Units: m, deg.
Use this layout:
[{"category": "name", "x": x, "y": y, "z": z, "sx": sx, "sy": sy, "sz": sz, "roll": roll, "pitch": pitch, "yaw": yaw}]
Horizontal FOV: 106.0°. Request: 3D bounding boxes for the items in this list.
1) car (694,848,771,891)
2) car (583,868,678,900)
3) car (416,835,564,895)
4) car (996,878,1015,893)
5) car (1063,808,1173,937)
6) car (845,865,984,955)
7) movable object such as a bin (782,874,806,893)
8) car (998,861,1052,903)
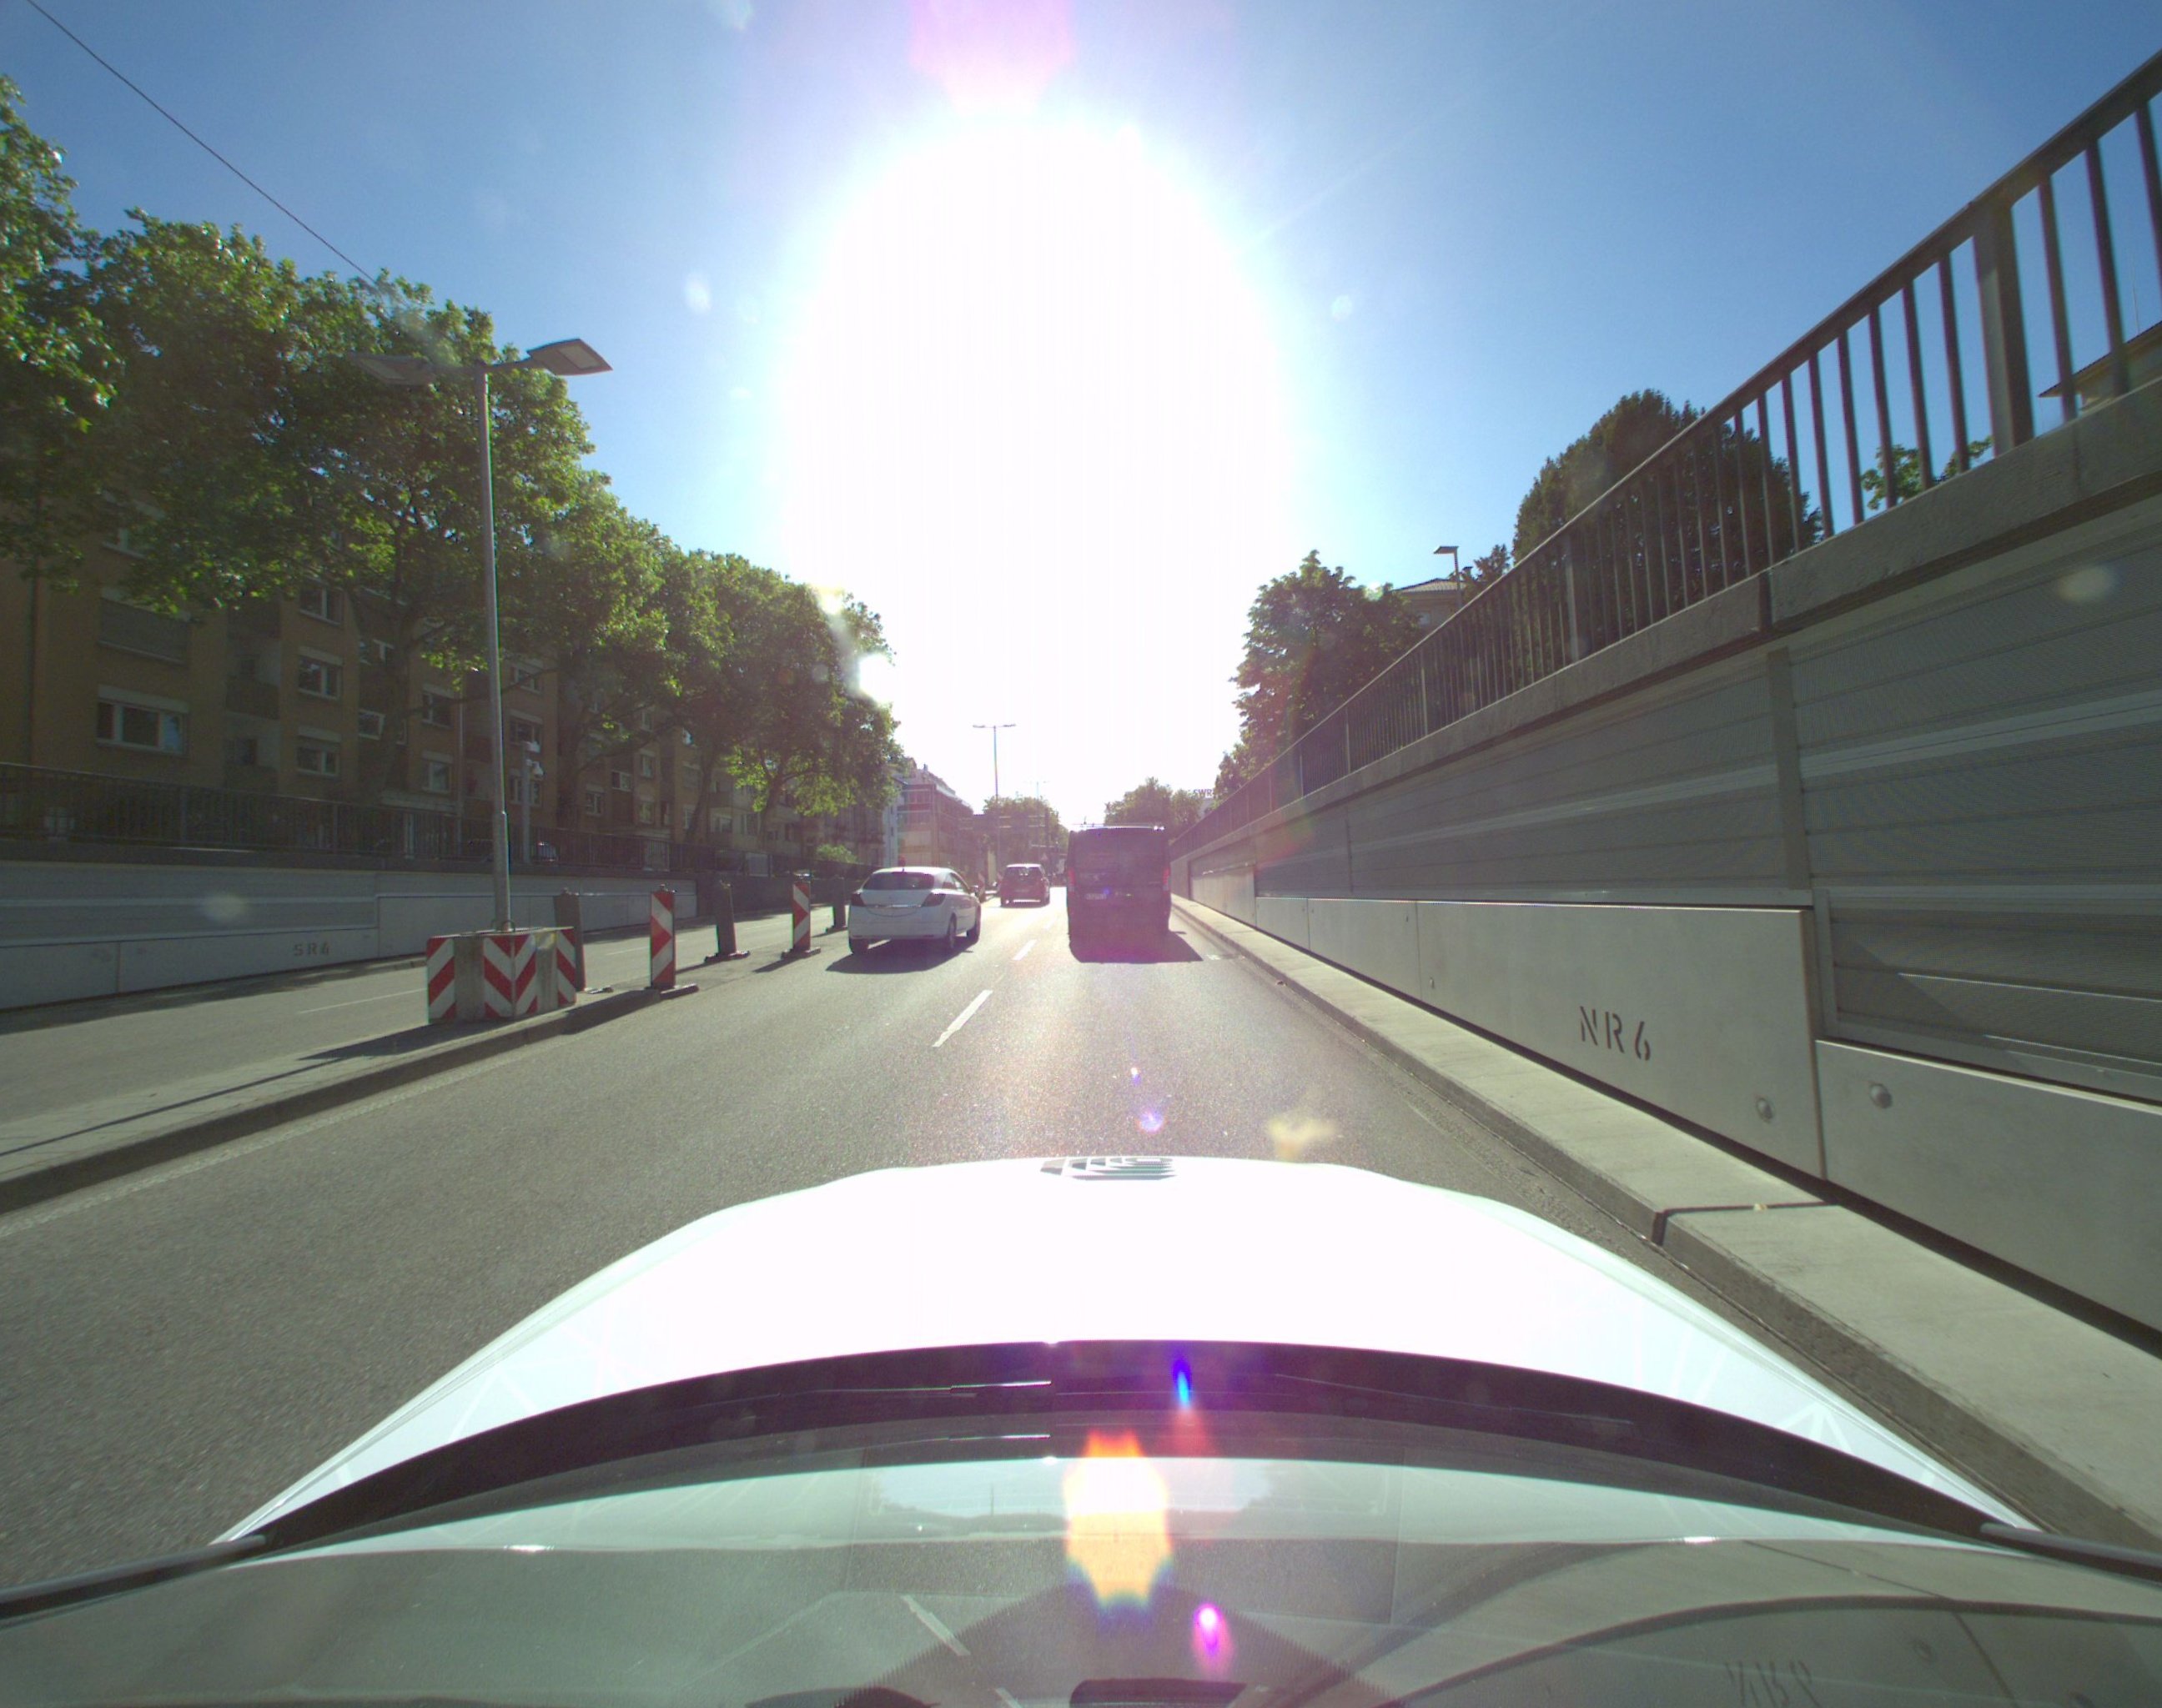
[{"category": "car", "x": -20.419, "y": 0.949, "z": 48.010, "sx": 1.985, "sy": 2.360, "sz": 5.422, "roll": -1, "pitch": -2, "yaw": 3}, {"category": "car", "x": -20.796, "y": 1.393, "z": 37.828, "sx": 1.986, "sy": 1.389, "sz": 4.173, "roll": -1, "pitch": -2, "yaw": 2}, {"category": "car", "x": -20.949, "y": 0.434, "z": 29.175, "sx": 1.959, "sy": 1.961, "sz": 4.526, "roll": 0, "pitch": -2, "yaw": 0}, {"category": "car", "x": -8.115, "y": 3.404, "z": 87.712, "sx": 1.533, "sy": 1.465, "sz": 3.718, "roll": -4, "pitch": -1, "yaw": 1}, {"category": "car", "x": 0.764, "y": 0.380, "z": 17.330, "sx": 2.022, "sy": 2.402, "sz": 3.974, "roll": -1, "pitch": -1, "yaw": 2}, {"category": "car", "x": -2.850, "y": 0.902, "z": 14.716, "sx": 1.613, "sy": 1.403, "sz": 3.853, "roll": 0, "pitch": -1, "yaw": 2}, {"category": "movable object such as a bin", "x": -21.264, "y": 2.212, "z": 60.448, "sx": 1.274, "sy": 1.402, "sz": 1.302, "roll": 0, "pitch": -2, "yaw": 2}, {"category": "car", "x": -2.026, "y": 1.012, "z": 30.397, "sx": 1.683, "sy": 1.483, "sz": 3.319, "roll": 0, "pitch": -1, "yaw": 1}]
